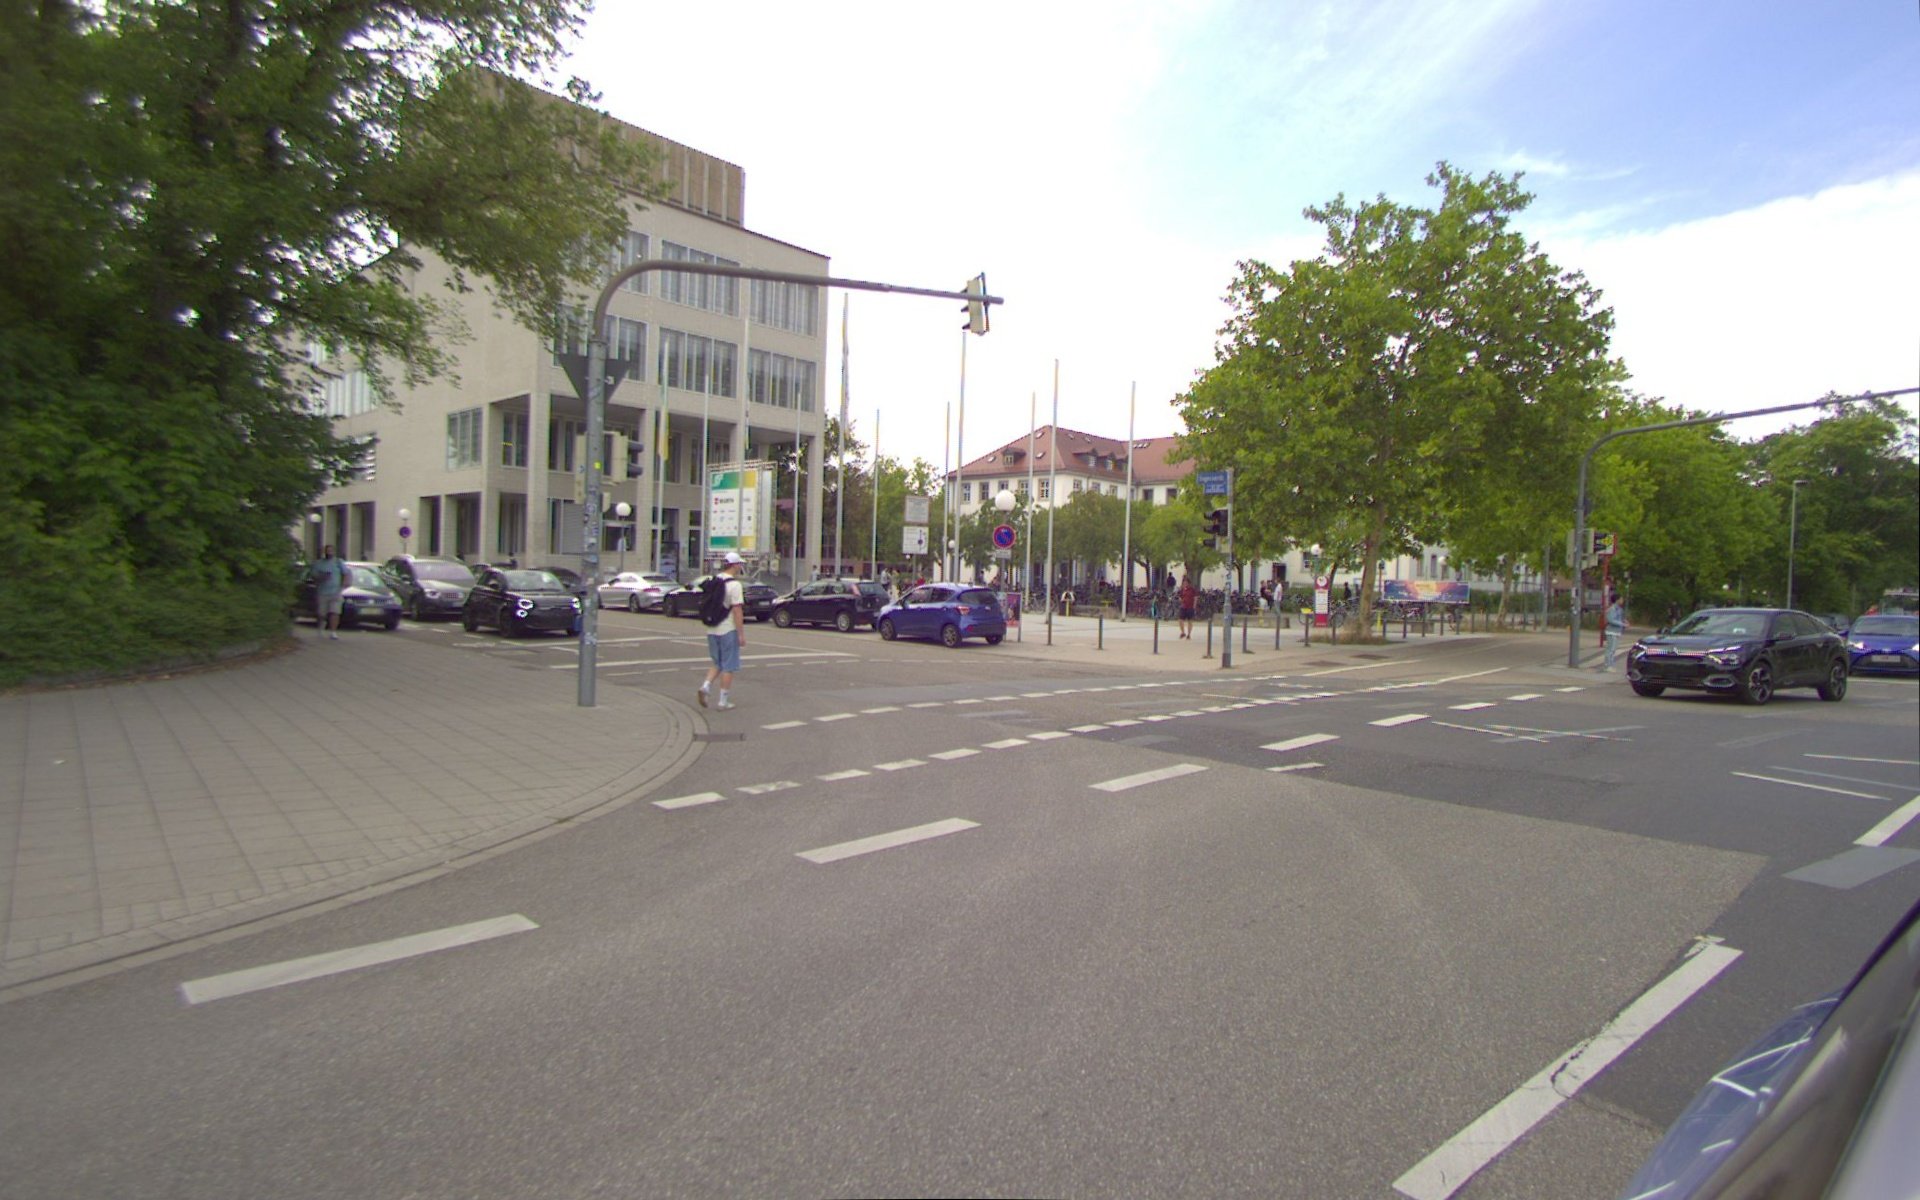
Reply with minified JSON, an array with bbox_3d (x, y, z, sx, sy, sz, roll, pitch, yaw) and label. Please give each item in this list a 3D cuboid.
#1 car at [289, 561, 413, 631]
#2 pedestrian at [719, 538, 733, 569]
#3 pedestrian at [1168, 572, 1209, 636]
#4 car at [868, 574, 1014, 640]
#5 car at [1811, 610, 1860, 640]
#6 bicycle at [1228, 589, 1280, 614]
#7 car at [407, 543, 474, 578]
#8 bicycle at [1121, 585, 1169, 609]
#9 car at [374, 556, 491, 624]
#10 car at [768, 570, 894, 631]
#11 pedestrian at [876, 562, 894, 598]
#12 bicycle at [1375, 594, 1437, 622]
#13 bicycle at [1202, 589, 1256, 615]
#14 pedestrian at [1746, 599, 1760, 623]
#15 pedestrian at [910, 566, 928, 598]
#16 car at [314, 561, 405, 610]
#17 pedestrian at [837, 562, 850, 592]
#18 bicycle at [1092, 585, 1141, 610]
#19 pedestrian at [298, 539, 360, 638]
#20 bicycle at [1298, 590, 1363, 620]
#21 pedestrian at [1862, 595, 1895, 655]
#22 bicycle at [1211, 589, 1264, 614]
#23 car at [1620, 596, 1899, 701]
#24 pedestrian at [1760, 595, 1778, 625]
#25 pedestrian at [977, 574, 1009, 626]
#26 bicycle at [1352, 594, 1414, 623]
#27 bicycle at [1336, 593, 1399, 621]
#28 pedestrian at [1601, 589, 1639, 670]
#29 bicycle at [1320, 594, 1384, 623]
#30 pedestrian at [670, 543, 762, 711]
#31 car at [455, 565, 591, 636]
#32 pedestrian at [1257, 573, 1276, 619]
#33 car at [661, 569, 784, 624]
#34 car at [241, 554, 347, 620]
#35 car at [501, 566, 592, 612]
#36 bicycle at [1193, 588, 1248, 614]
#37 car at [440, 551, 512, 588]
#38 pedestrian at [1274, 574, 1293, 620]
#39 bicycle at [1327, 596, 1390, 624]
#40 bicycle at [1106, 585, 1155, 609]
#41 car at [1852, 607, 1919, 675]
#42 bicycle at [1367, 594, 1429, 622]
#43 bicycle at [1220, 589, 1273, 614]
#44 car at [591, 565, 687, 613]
[{"bbox_3d":[-14.540,-0.141,24.054,4.095,1.496,1.523,3,2,44],"label":"car"},{"bbox_3d":[-13.364,-2.674,57.859,0.619,1.736,0.673,1,0,-28],"label":"pedestrian"},{"bbox_3d":[6.640,0.115,29.394,0.876,1.827,0.768,1,0,-41],"label":"pedestrian"},{"bbox_3d":[-0.522,0.123,25.454,3.572,1.510,1.648,2,2,44],"label":"car"},{"bbox_3d":[44.494,1.239,51.408,1.699,1.386,3.772,2,1,43],"label":"car"},{"bbox_3d":[14.570,0.063,50.188,0.706,1.156,2.468,1,1,-44],"label":"bicycle"},{"bbox_3d":[-24.985,-1.883,48.634,3.977,1.586,1.725,2,2,44],"label":"car"},{"bbox_3d":[9.571,-0.147,52.497,0.706,1.156,2.468,1,1,-44],"label":"bicycle"},{"bbox_3d":[-14.449,-0.336,27.602,1.657,1.713,4.284,0,2,-45],"label":"car"},{"bbox_3d":[-3.734,-0.033,28.915,3.684,1.586,1.648,2,2,44],"label":"car"},{"bbox_3d":[-3.946,-1.022,52.985,0.721,1.867,0.596,0,0,30],"label":"pedestrian"},{"bbox_3d":[20.229,0.355,45.980,0.706,1.156,2.468,1,1,-44],"label":"bicycle"},{"bbox_3d":[12.888,0.064,48.486,0.706,1.156,2.468,1,1,-44],"label":"bicycle"},{"bbox_3d":[52.299,0.713,66.713,0.644,1.585,0.792,2,1,42],"label":"pedestrian"},{"bbox_3d":[-2.114,-0.910,52.004,0.722,1.617,0.595,0,0,32],"label":"pedestrian"},{"bbox_3d":[-19.248,-0.497,32.399,1.657,1.460,3.774,0,2,-45],"label":"car"},{"bbox_3d":[-6.494,-1.294,56.362,0.590,1.661,0.634,1,0,-22],"label":"pedestrian"},{"bbox_3d":[7.843,-0.142,50.718,0.706,1.156,2.468,1,1,-44],"label":"bicycle"},{"bbox_3d":[-12.357,-0.234,19.829,0.794,1.874,0.725,2,1,28],"label":"pedestrian"},{"bbox_3d":[15.503,0.212,42.365,0.706,1.156,2.468,1,1,-44],"label":"bicycle"},{"bbox_3d":[29.690,0.792,32.724,0.725,1.876,1.048,2,1,42],"label":"pedestrian"},{"bbox_3d":[13.437,0.063,49.046,0.706,1.156,2.468,1,1,-44],"label":"bicycle"},{"bbox_3d":[13.214,0.723,16.742,4.088,1.576,1.809,0,0,-21],"label":"car"},{"bbox_3d":[52.935,0.648,66.213,0.796,1.958,0.748,2,1,44],"label":"pedestrian"},{"bbox_3d":[1.124,0.006,34.443,0.687,1.730,0.956,1,0,-27],"label":"pedestrian"},{"bbox_3d":[18.783,0.361,45.015,0.706,1.156,2.468,1,1,-44],"label":"bicycle"},{"bbox_3d":[17.936,0.302,44.575,0.706,1.156,2.468,1,1,-44],"label":"bicycle"},{"bbox_3d":[15.346,0.664,23.531,0.670,1.839,0.574,1,1,-43],"label":"pedestrian"},{"bbox_3d":[16.721,0.347,43.256,0.706,1.156,2.468,1,1,-44],"label":"bicycle"},{"bbox_3d":[-2.842,0.299,11.813,0.642,1.876,0.819,0,0,33],"label":"pedestrian"},{"bbox_3d":[-9.995,-0.045,23.030,1.657,1.460,3.573,0,2,-45],"label":"car"},{"bbox_3d":[13.424,-0.177,44.371,0.674,1.988,0.602,0,0,5],"label":"pedestrian"},{"bbox_3d":[-7.575,-0.167,32.029,4.440,1.586,1.648,2,2,44],"label":"car"},{"bbox_3d":[-17.922,-0.380,27.173,3.887,1.624,1.545,3,0,44],"label":"car"},{"bbox_3d":[-16.804,-0.454,41.017,4.216,1.587,1.785,2,-4,44],"label":"car"},{"bbox_3d":[12.312,0.029,47.905,0.706,1.156,2.468,1,1,-44],"label":"bicycle"},{"bbox_3d":[-21.697,-1.355,45.333,3.977,1.586,1.648,2,2,44],"label":"car"},{"bbox_3d":[14.170,-0.139,44.302,0.674,1.988,0.602,0,0,5],"label":"pedestrian"},{"bbox_3d":[17.310,0.420,44.030,0.706,1.156,2.468,1,1,-44],"label":"bicycle"},{"bbox_3d":[8.668,-0.144,51.559,0.706,1.156,2.468,1,1,-44],"label":"bicycle"},{"bbox_3d":[23.260,0.965,24.987,1.699,1.512,3.772,2,1,43],"label":"car"},{"bbox_3d":[19.641,0.359,45.426,0.706,1.156,2.468,1,1,-44],"label":"bicycle"},{"bbox_3d":[14.010,0.065,49.619,0.706,1.156,2.468,1,1,-44],"label":"bicycle"},{"bbox_3d":[-11.434,-0.416,35.895,3.821,1.586,1.648,2,2,44],"label":"car"}]
